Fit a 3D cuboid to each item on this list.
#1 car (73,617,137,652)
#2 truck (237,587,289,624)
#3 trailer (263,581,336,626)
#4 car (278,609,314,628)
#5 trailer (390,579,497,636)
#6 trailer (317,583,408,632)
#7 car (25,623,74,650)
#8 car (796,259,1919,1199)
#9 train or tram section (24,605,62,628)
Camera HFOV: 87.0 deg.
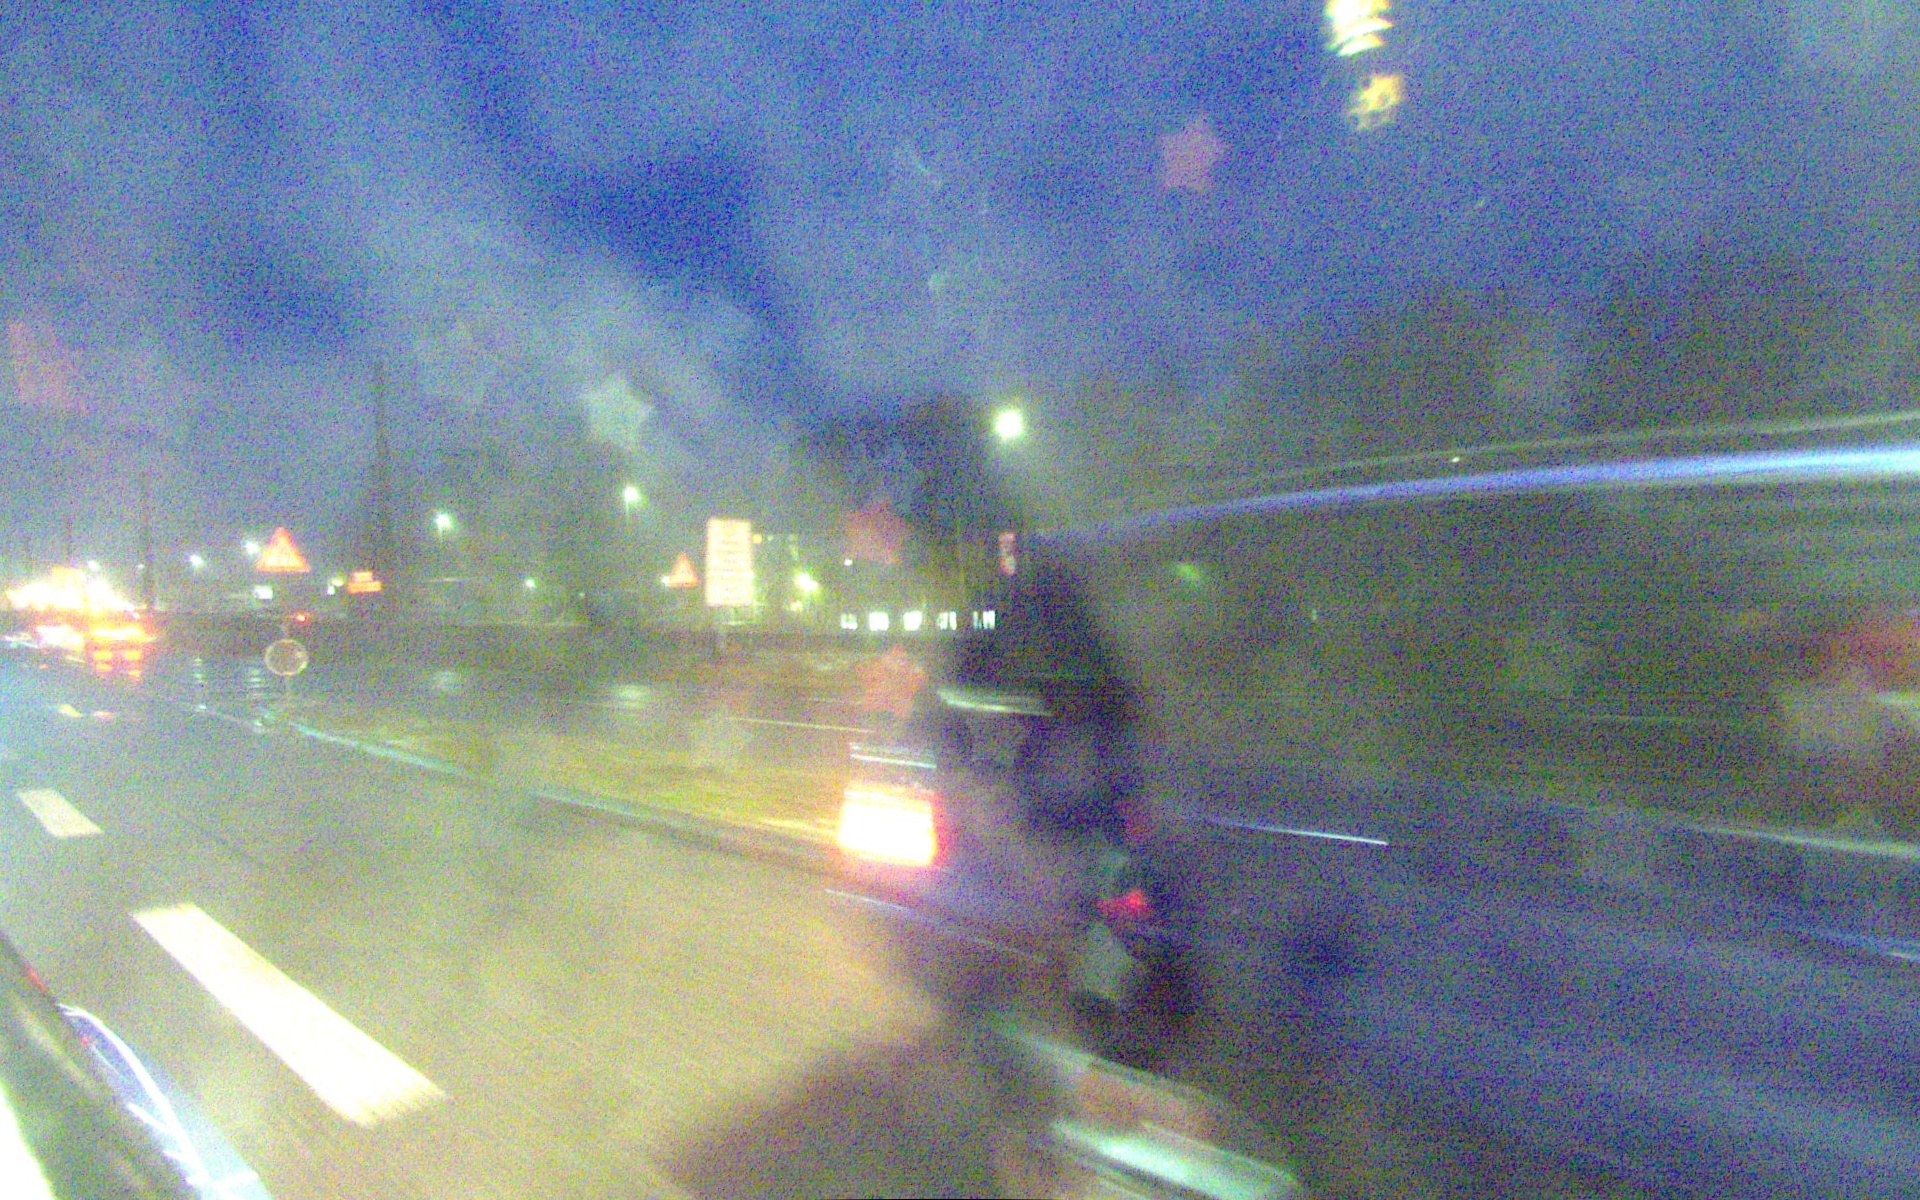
[{"bbox_3d":[-43.434,1.729,51.379,4.649,1.654,1.743,-1,1,40],"label":"car"},{"bbox_3d":[-94.857,0.658,137.634,10.214,4.643,3.402,0,4,43],"label":"truck"},{"bbox_3d":[-82.330,0.390,125.952,14.837,5.049,3.929,0,4,43],"label":"trailer"},{"bbox_3d":[-62.719,1.740,95.604,4.218,1.706,1.767,-2,1,42],"label":"car"},{"bbox_3d":[-47.485,0.635,92.742,14.249,4.643,3.929,0,4,43],"label":"trailer"},{"bbox_3d":[-63.714,0.714,107.627,15.517,4.643,3.929,0,4,43],"label":"trailer"},{"bbox_3d":[-58.124,2.312,64.583,4.029,1.600,1.783,-1,1,41],"label":"car"},{"bbox_3d":[1.854,0.507,1.619,4.434,1.795,1.765,-2,-1,42],"label":"car"},{"bbox_3d":[-180.497,3.047,199.046,37.154,3.842,2.667,0,4,44],"label":"train or tram section"}]
